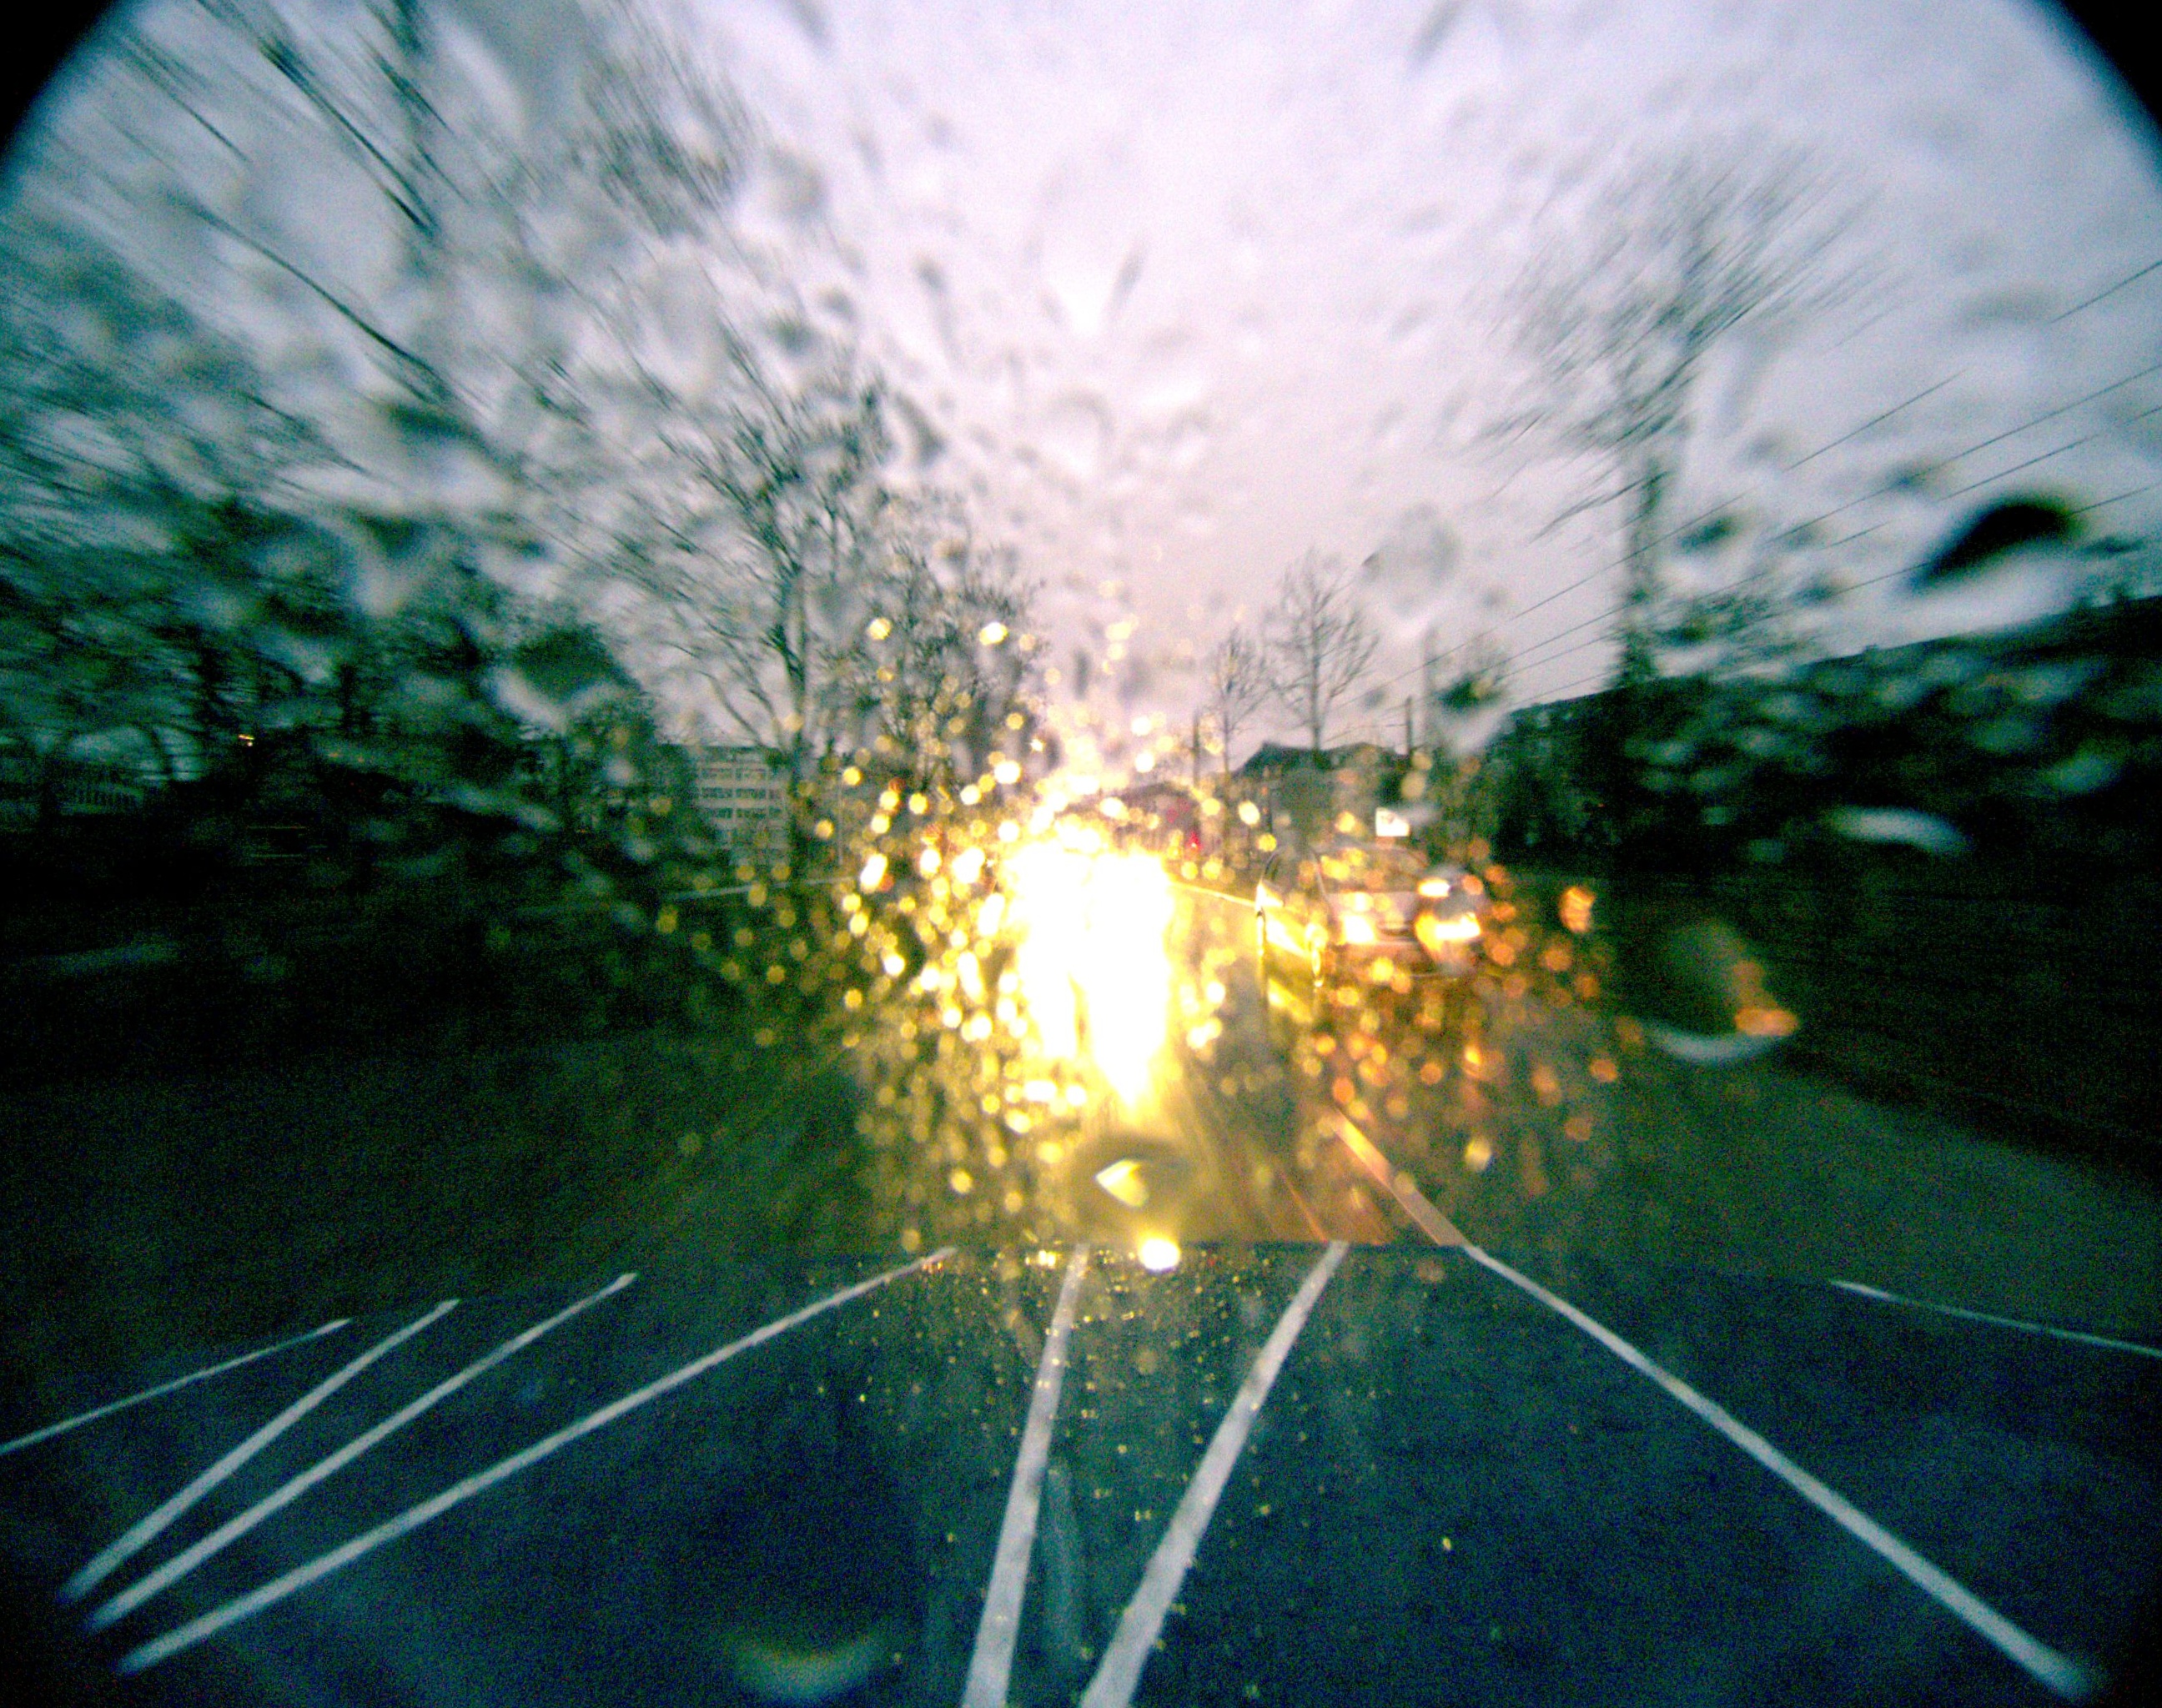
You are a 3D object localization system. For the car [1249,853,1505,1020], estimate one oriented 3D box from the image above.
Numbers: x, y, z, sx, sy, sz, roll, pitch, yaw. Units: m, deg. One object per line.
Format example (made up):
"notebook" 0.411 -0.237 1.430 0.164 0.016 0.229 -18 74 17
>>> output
"car" 3.268 0.792 9.242 1.669 1.566 3.923 -1 0 1

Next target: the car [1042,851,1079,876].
"car" -1.430 0.630 51.483 1.951 1.546 4.214 -2 0 -9

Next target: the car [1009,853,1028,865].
"car" -8.649 0.650 105.480 1.951 1.546 4.212 -2 0 -13

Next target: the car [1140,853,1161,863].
"car" 9.723 0.539 106.706 1.899 1.347 4.285 0 0 -11

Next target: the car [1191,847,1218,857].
"car" 23.471 -0.407 144.530 4.679 1.846 2.323 0 1 -22

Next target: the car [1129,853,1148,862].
"car" 8.519 0.559 112.666 1.898 1.347 4.285 0 0 -10

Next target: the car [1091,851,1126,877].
"car" 1.757 0.644 50.001 1.845 1.546 4.215 -2 0 -4

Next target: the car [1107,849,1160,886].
"car" 2.360 0.598 35.257 1.924 1.546 4.216 -2 0 -2

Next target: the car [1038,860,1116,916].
"car" -0.154 0.848 20.712 1.897 1.347 4.288 0 0 -2
